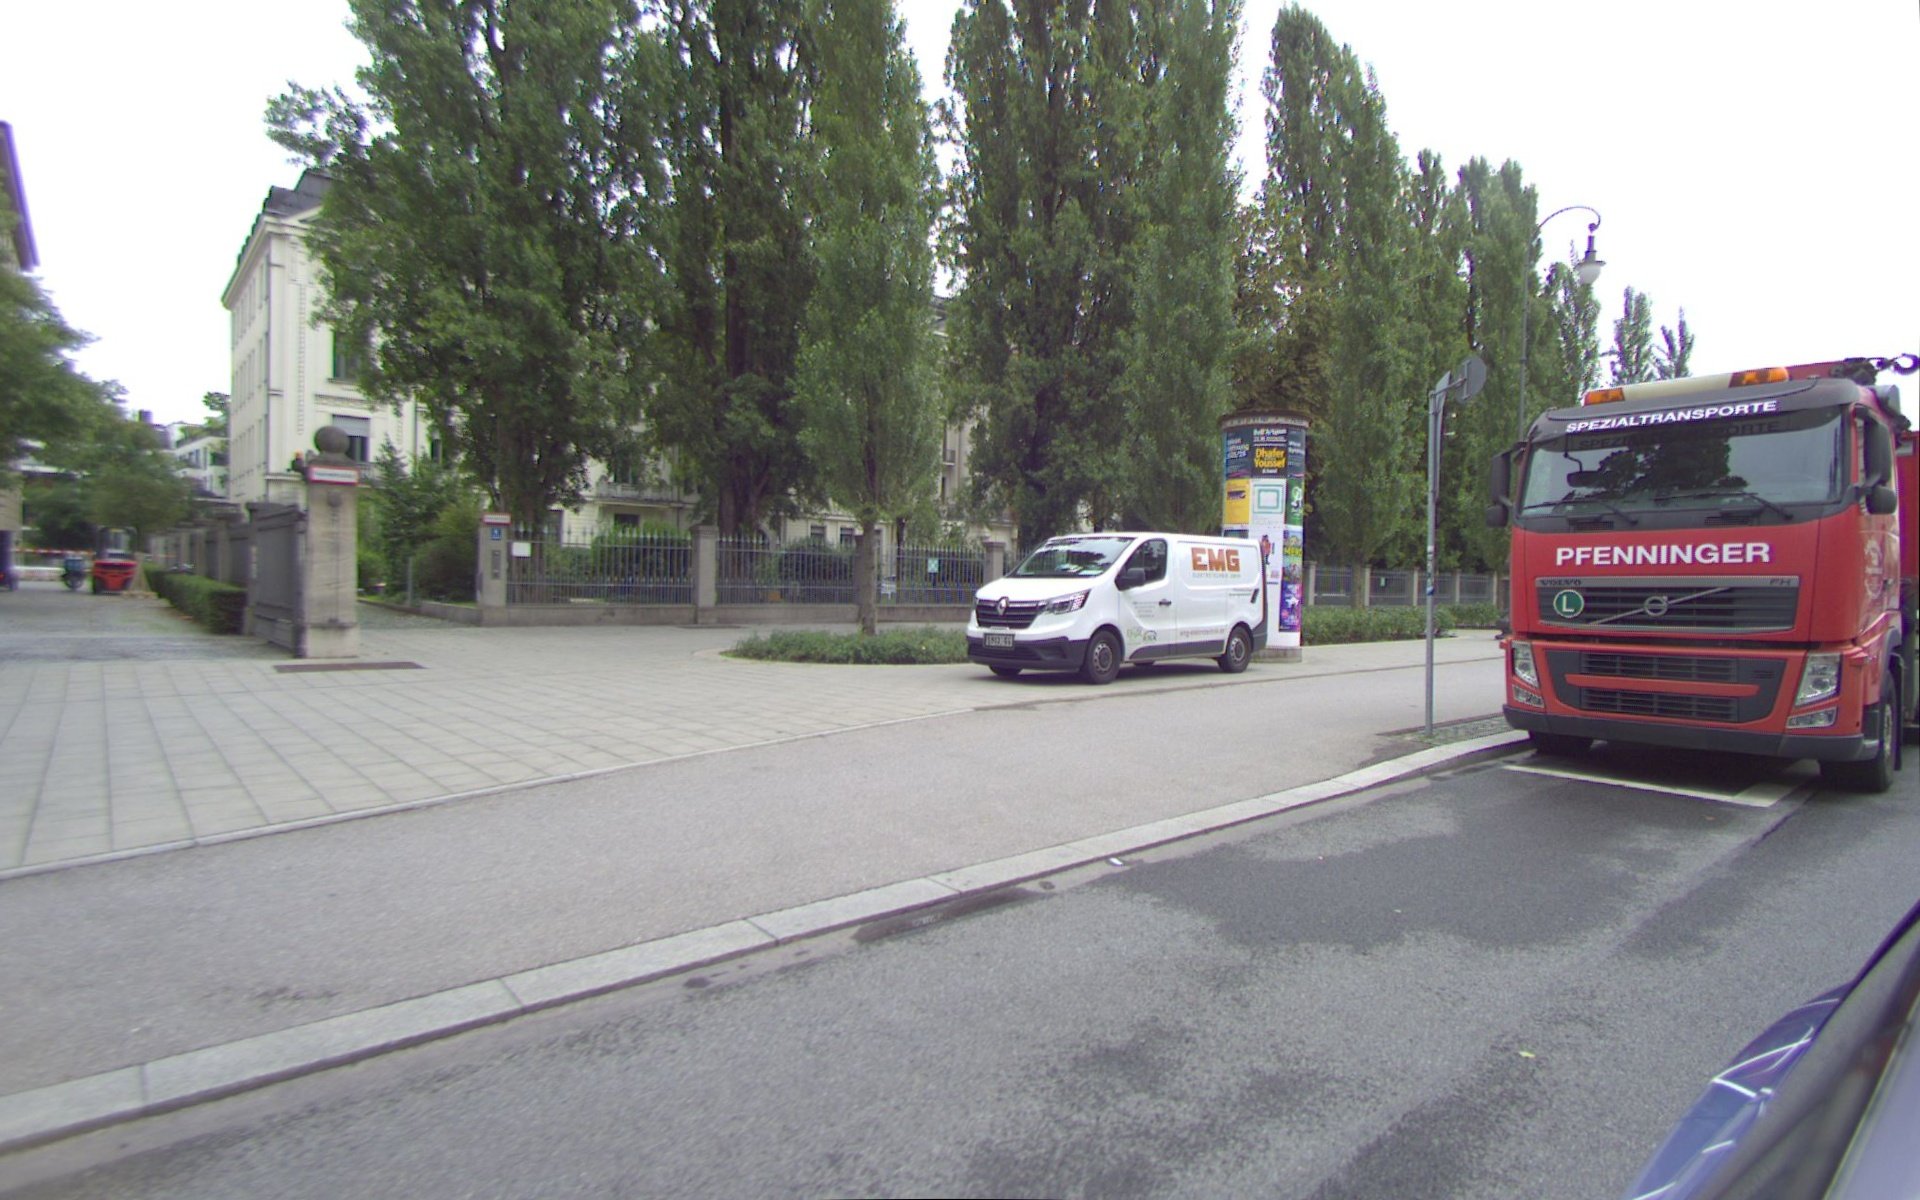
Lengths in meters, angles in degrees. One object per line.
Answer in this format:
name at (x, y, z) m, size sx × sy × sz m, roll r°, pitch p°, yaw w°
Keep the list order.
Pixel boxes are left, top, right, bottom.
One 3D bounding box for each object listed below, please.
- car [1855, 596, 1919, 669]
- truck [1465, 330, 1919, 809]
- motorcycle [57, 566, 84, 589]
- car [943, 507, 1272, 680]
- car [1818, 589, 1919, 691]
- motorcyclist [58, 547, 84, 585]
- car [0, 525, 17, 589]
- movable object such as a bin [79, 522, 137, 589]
car at (19.520, 0.613, 20.302) m, size 4.293 × 1.326 × 1.739 m, roll 0°, pitch 2°, yaw -41°
truck at (9.119, -0.266, 11.063) m, size 10.245 × 3.148 × 2.719 m, roll 0°, pitch 2°, yaw -41°
motorcycle at (-30.827, -0.792, 35.091) m, size 0.611 × 0.744 × 1.566 m, roll 0°, pitch 2°, yaw -38°
car at (2.168, -0.090, 13.849) m, size 4.802 × 1.969 × 1.882 m, roll 0°, pitch 0°, yaw -43°
car at (15.434, 0.586, 16.382) m, size 4.144 × 1.478 × 1.791 m, roll 0°, pitch 1°, yaw -42°
motorcyclist at (-30.796, -1.170, 35.057) m, size 0.611 × 1.275 × 0.932 m, roll 0°, pitch 1°, yaw -38°
car at (-31.991, -1.439, 33.407) m, size 1.140 × 2.036 × 3.499 m, roll 0°, pitch 2°, yaw -41°
movable object such as a bin at (-29.166, -1.498, 34.723) m, size 1.407 × 2.167 × 3.678 m, roll 0°, pitch 2°, yaw -38°
